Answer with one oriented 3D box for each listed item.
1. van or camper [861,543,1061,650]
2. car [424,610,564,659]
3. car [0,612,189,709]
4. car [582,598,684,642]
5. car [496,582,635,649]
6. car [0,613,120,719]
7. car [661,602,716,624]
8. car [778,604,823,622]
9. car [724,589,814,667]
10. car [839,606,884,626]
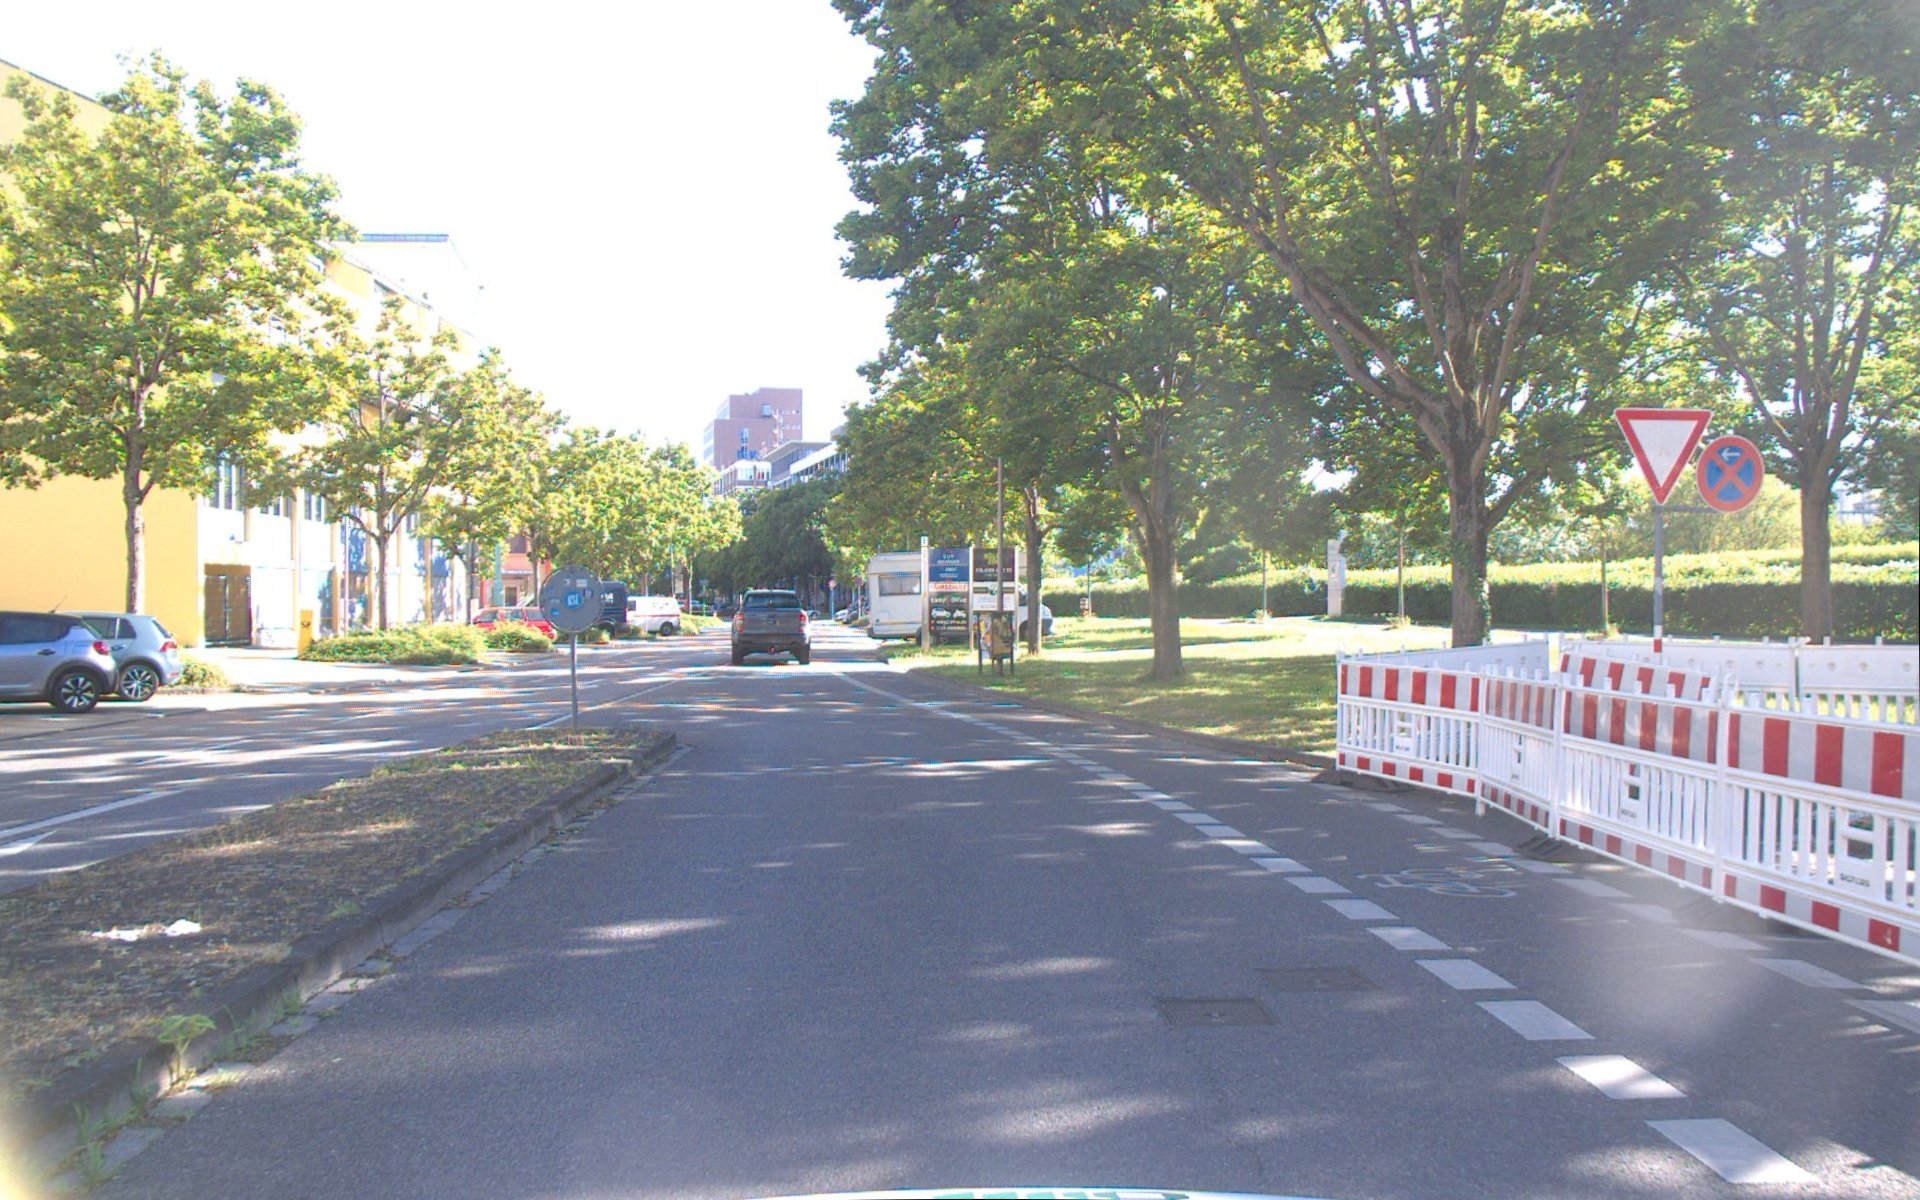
[{"bbox_3d":[-0.026,-0.112,51.716,5.960,2.979,2.573,-3,0,-4],"label":"van or camper"},{"bbox_3d":[-16.072,1.170,57.042,4.357,1.579,1.904,-1,0,-28],"label":"car"},{"bbox_3d":[-15.046,0.968,27.466,3.841,1.536,1.806,0,-1,-35],"label":"car"},{"bbox_3d":[-16.953,1.022,85.882,4.850,2.119,1.958,-1,0,-38],"label":"car"},{"bbox_3d":[-16.162,0.617,67.770,5.202,2.590,1.967,-1,0,-29],"label":"car"},{"bbox_3d":[-14.681,0.968,24.452,3.842,1.536,1.805,0,-1,-36],"label":"car"},{"bbox_3d":[-19.400,0.925,118.178,3.816,1.389,1.405,-3,0,-13],"label":"car"},{"bbox_3d":[-14.304,1.153,148.437,3.878,1.421,1.511,-3,0,-12],"label":"car"},{"bbox_3d":[-4.985,0.674,42.714,2.094,1.867,4.930,0,0,-9],"label":"car"},{"bbox_3d":[-7.063,1.152,118.684,3.181,1.299,1.515,-3,0,-5],"label":"car"}]
